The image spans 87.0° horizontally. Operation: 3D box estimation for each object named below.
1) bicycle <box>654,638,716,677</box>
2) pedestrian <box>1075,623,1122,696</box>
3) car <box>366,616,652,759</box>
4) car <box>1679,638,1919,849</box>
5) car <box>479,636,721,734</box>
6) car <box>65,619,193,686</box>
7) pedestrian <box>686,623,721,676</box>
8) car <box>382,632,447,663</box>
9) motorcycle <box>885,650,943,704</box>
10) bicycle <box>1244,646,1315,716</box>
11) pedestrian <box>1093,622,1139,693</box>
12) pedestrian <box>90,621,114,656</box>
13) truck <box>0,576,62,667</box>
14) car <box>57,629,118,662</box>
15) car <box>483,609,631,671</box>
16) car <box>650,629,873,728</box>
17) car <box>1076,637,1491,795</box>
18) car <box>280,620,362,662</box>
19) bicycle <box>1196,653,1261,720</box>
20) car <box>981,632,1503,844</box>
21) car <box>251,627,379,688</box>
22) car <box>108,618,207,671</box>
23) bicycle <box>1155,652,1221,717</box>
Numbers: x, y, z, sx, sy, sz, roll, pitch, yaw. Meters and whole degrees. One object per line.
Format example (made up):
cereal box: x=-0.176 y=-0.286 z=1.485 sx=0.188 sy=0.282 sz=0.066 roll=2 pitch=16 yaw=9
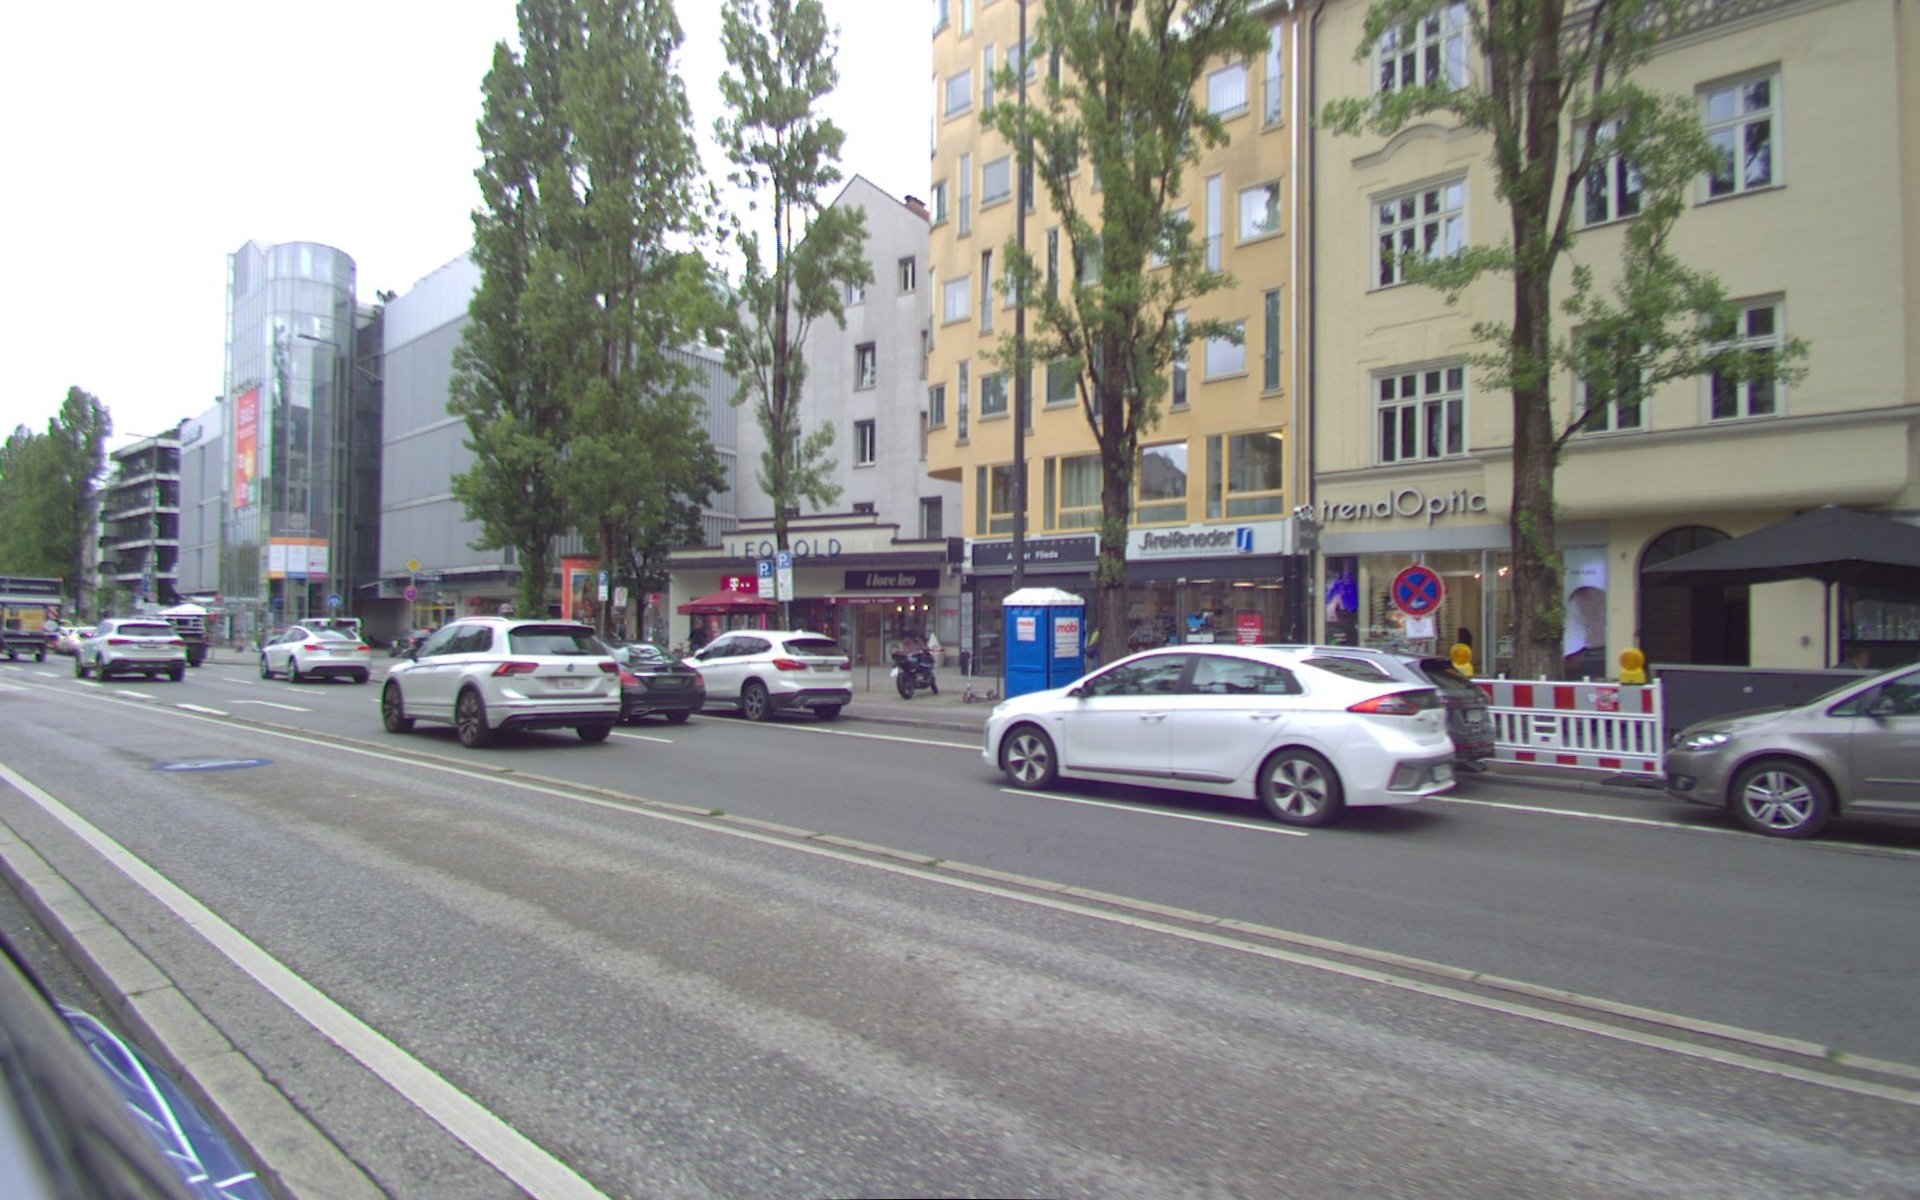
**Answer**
bicycle: x=-9.795 y=2.043 z=36.034 sx=2.298 sy=1.318 sz=0.839 roll=-1 pitch=-3 yaw=35
pedestrian: x=3.226 y=1.358 z=23.563 sx=0.763 sy=1.638 sz=0.831 roll=0 pitch=0 yaw=40
car: x=-6.317 y=1.090 z=13.943 sx=4.462 sy=1.655 sz=1.919 roll=-1 pitch=-3 yaw=42
car: x=8.044 y=1.081 z=7.689 sx=4.000 sy=1.530 sz=1.785 roll=-2 pitch=-3 yaw=43
car: x=-6.309 y=1.373 z=17.498 sx=4.535 sy=1.445 sz=1.919 roll=-1 pitch=-3 yaw=40
car: x=-23.132 y=1.434 z=28.124 sx=4.531 sy=1.724 sz=1.842 roll=-1 pitch=-4 yaw=39
pedestrian: x=-9.292 y=1.783 z=36.655 sx=0.830 sy=1.913 sz=0.851 roll=-1 pitch=-3 yaw=33
car: x=-27.098 y=2.319 z=50.228 sx=1.898 sy=1.450 sz=4.514 roll=3 pitch=-3 yaw=-40
motorcycle: x=-0.986 y=1.678 z=22.355 sx=0.483 sy=1.044 sz=2.047 roll=0 pitch=0 yaw=22
bicycle: x=5.174 y=1.274 z=16.333 sx=0.621 sy=1.049 sz=1.992 roll=-1 pitch=-3 yaw=32
pedestrian: x=3.747 y=1.361 z=24.310 sx=0.763 sy=1.638 sz=0.831 roll=0 pitch=0 yaw=40
pedestrian: x=-46.561 y=2.068 z=54.929 sx=0.845 sy=1.881 sz=0.778 roll=-1 pitch=-3 yaw=38
truck: x=-38.012 y=0.879 z=40.132 sx=7.148 sy=3.348 sz=2.269 roll=-1 pitch=-3 yaw=39
car: x=-42.794 y=2.213 z=49.597 sx=4.984 sy=1.481 sz=1.835 roll=-2 pitch=-5 yaw=45
car: x=-18.178 y=1.814 z=45.991 sx=2.173 sy=2.625 sz=5.988 roll=-1 pitch=-3 yaw=37
car: x=-3.834 y=1.391 z=19.090 sx=4.383 sy=1.642 sz=1.971 roll=-2 pitch=-3 yaw=44
car: x=3.690 y=1.216 z=12.013 sx=4.294 sy=1.505 sz=1.919 roll=-1 pitch=-3 yaw=42
car: x=-32.478 y=2.082 z=51.395 sx=5.107 sy=2.029 sz=1.974 roll=-1 pitch=-3 yaw=39
bicycle: x=4.553 y=1.435 z=17.076 sx=0.621 sy=1.049 sz=1.624 roll=-1 pitch=-3 yaw=32
car: x=2.461 y=1.079 z=9.436 sx=4.292 sy=1.505 sz=1.920 roll=-1 pitch=-3 yaw=40
car: x=-18.951 y=1.639 z=29.669 sx=4.635 sy=1.664 sz=1.972 roll=-1 pitch=-4 yaw=42
car: x=-30.880 y=1.689 z=38.870 sx=5.709 sy=1.878 sz=1.972 roll=-1 pitch=-4 yaw=42
bicycle: x=3.957 y=1.435 z=17.477 sx=0.621 sy=1.049 sz=1.624 roll=-1 pitch=-3 yaw=32
